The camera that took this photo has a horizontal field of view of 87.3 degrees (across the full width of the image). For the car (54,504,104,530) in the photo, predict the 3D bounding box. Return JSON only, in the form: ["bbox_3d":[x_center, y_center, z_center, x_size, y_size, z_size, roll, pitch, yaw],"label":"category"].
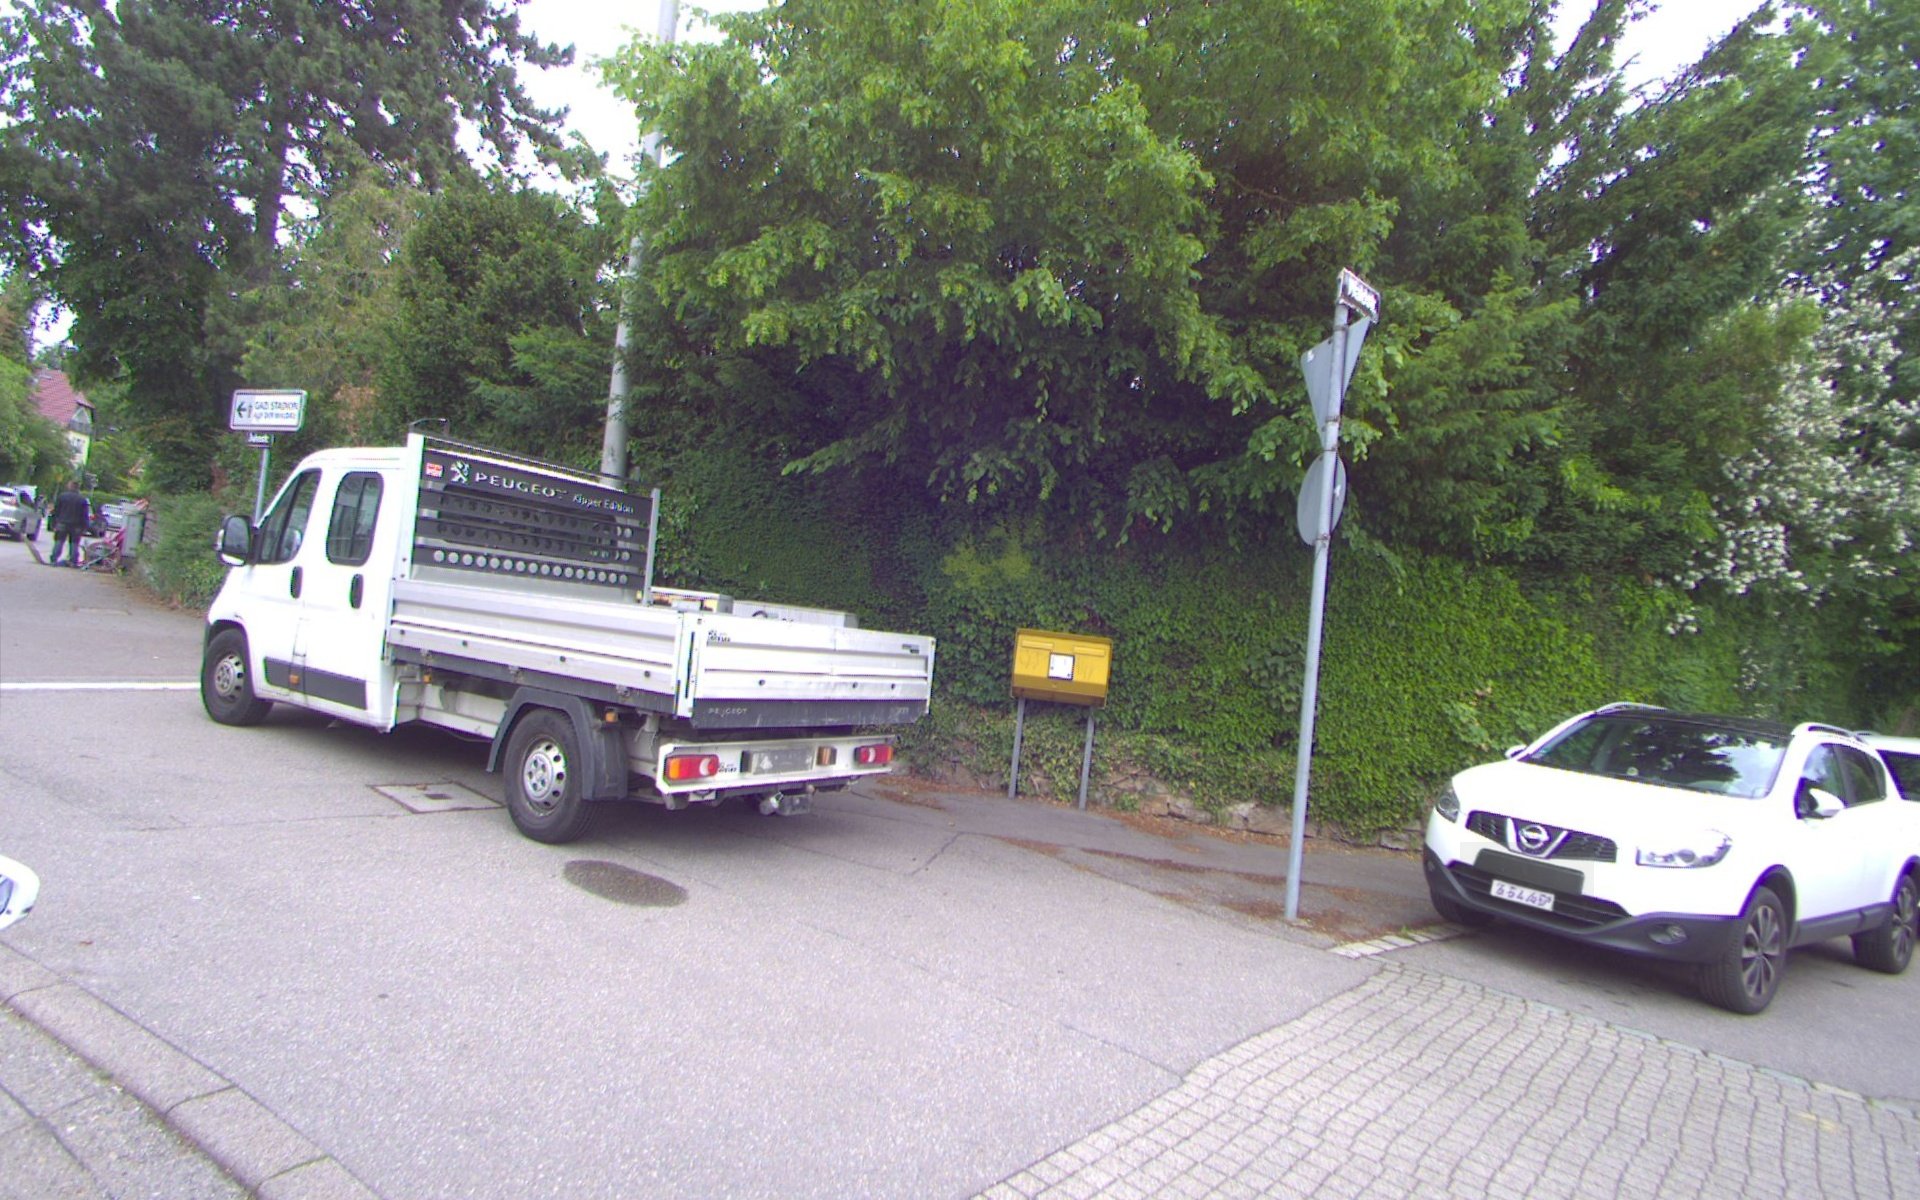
[{"bbox_3d":[-60.462,-5.672,69.101,1.928,1.420,4.697,9,-1,-35],"label":"car"}]

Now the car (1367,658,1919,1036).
[{"bbox_3d":[4.774,1.469,6.649,4.098,1.641,1.783,9,-2,-34],"label":"car"}]

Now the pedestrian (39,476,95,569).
[{"bbox_3d":[-19.601,-1.689,22.088,0.549,1.929,0.597,7,-1,32],"label":"pedestrian"}]

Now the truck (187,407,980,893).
[{"bbox_3d":[-2.926,0.085,7.155,5.631,2.270,2.211,6,-2,34],"label":"truck"}]

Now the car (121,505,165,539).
[{"bbox_3d":[-56.342,-5.400,69.423,1.910,1.915,4.859,10,-2,-36],"label":"car"}]

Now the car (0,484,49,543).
[{"bbox_3d":[-31.237,-2.869,32.603,1.796,1.775,4.445,7,0,-34],"label":"car"}]

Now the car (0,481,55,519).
[{"bbox_3d":[-56.898,-6.059,61.301,1.901,1.903,5.092,6,-1,-36],"label":"car"}]

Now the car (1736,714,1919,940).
[{"bbox_3d":[9.053,2.115,9.461,4.041,1.641,1.781,9,-3,-38],"label":"car"}]

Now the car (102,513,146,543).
[{"bbox_3d":[-48.711,-4.200,58.683,1.685,1.448,3.710,7,0,-37],"label":"car"}]

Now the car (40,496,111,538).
[{"bbox_3d":[-39.762,-3.722,45.325,1.790,1.545,4.697,7,0,-36],"label":"car"}]

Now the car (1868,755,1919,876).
[{"bbox_3d":[13.909,2.991,13.550,4.040,1.440,1.781,8,-2,-38],"label":"car"}]
